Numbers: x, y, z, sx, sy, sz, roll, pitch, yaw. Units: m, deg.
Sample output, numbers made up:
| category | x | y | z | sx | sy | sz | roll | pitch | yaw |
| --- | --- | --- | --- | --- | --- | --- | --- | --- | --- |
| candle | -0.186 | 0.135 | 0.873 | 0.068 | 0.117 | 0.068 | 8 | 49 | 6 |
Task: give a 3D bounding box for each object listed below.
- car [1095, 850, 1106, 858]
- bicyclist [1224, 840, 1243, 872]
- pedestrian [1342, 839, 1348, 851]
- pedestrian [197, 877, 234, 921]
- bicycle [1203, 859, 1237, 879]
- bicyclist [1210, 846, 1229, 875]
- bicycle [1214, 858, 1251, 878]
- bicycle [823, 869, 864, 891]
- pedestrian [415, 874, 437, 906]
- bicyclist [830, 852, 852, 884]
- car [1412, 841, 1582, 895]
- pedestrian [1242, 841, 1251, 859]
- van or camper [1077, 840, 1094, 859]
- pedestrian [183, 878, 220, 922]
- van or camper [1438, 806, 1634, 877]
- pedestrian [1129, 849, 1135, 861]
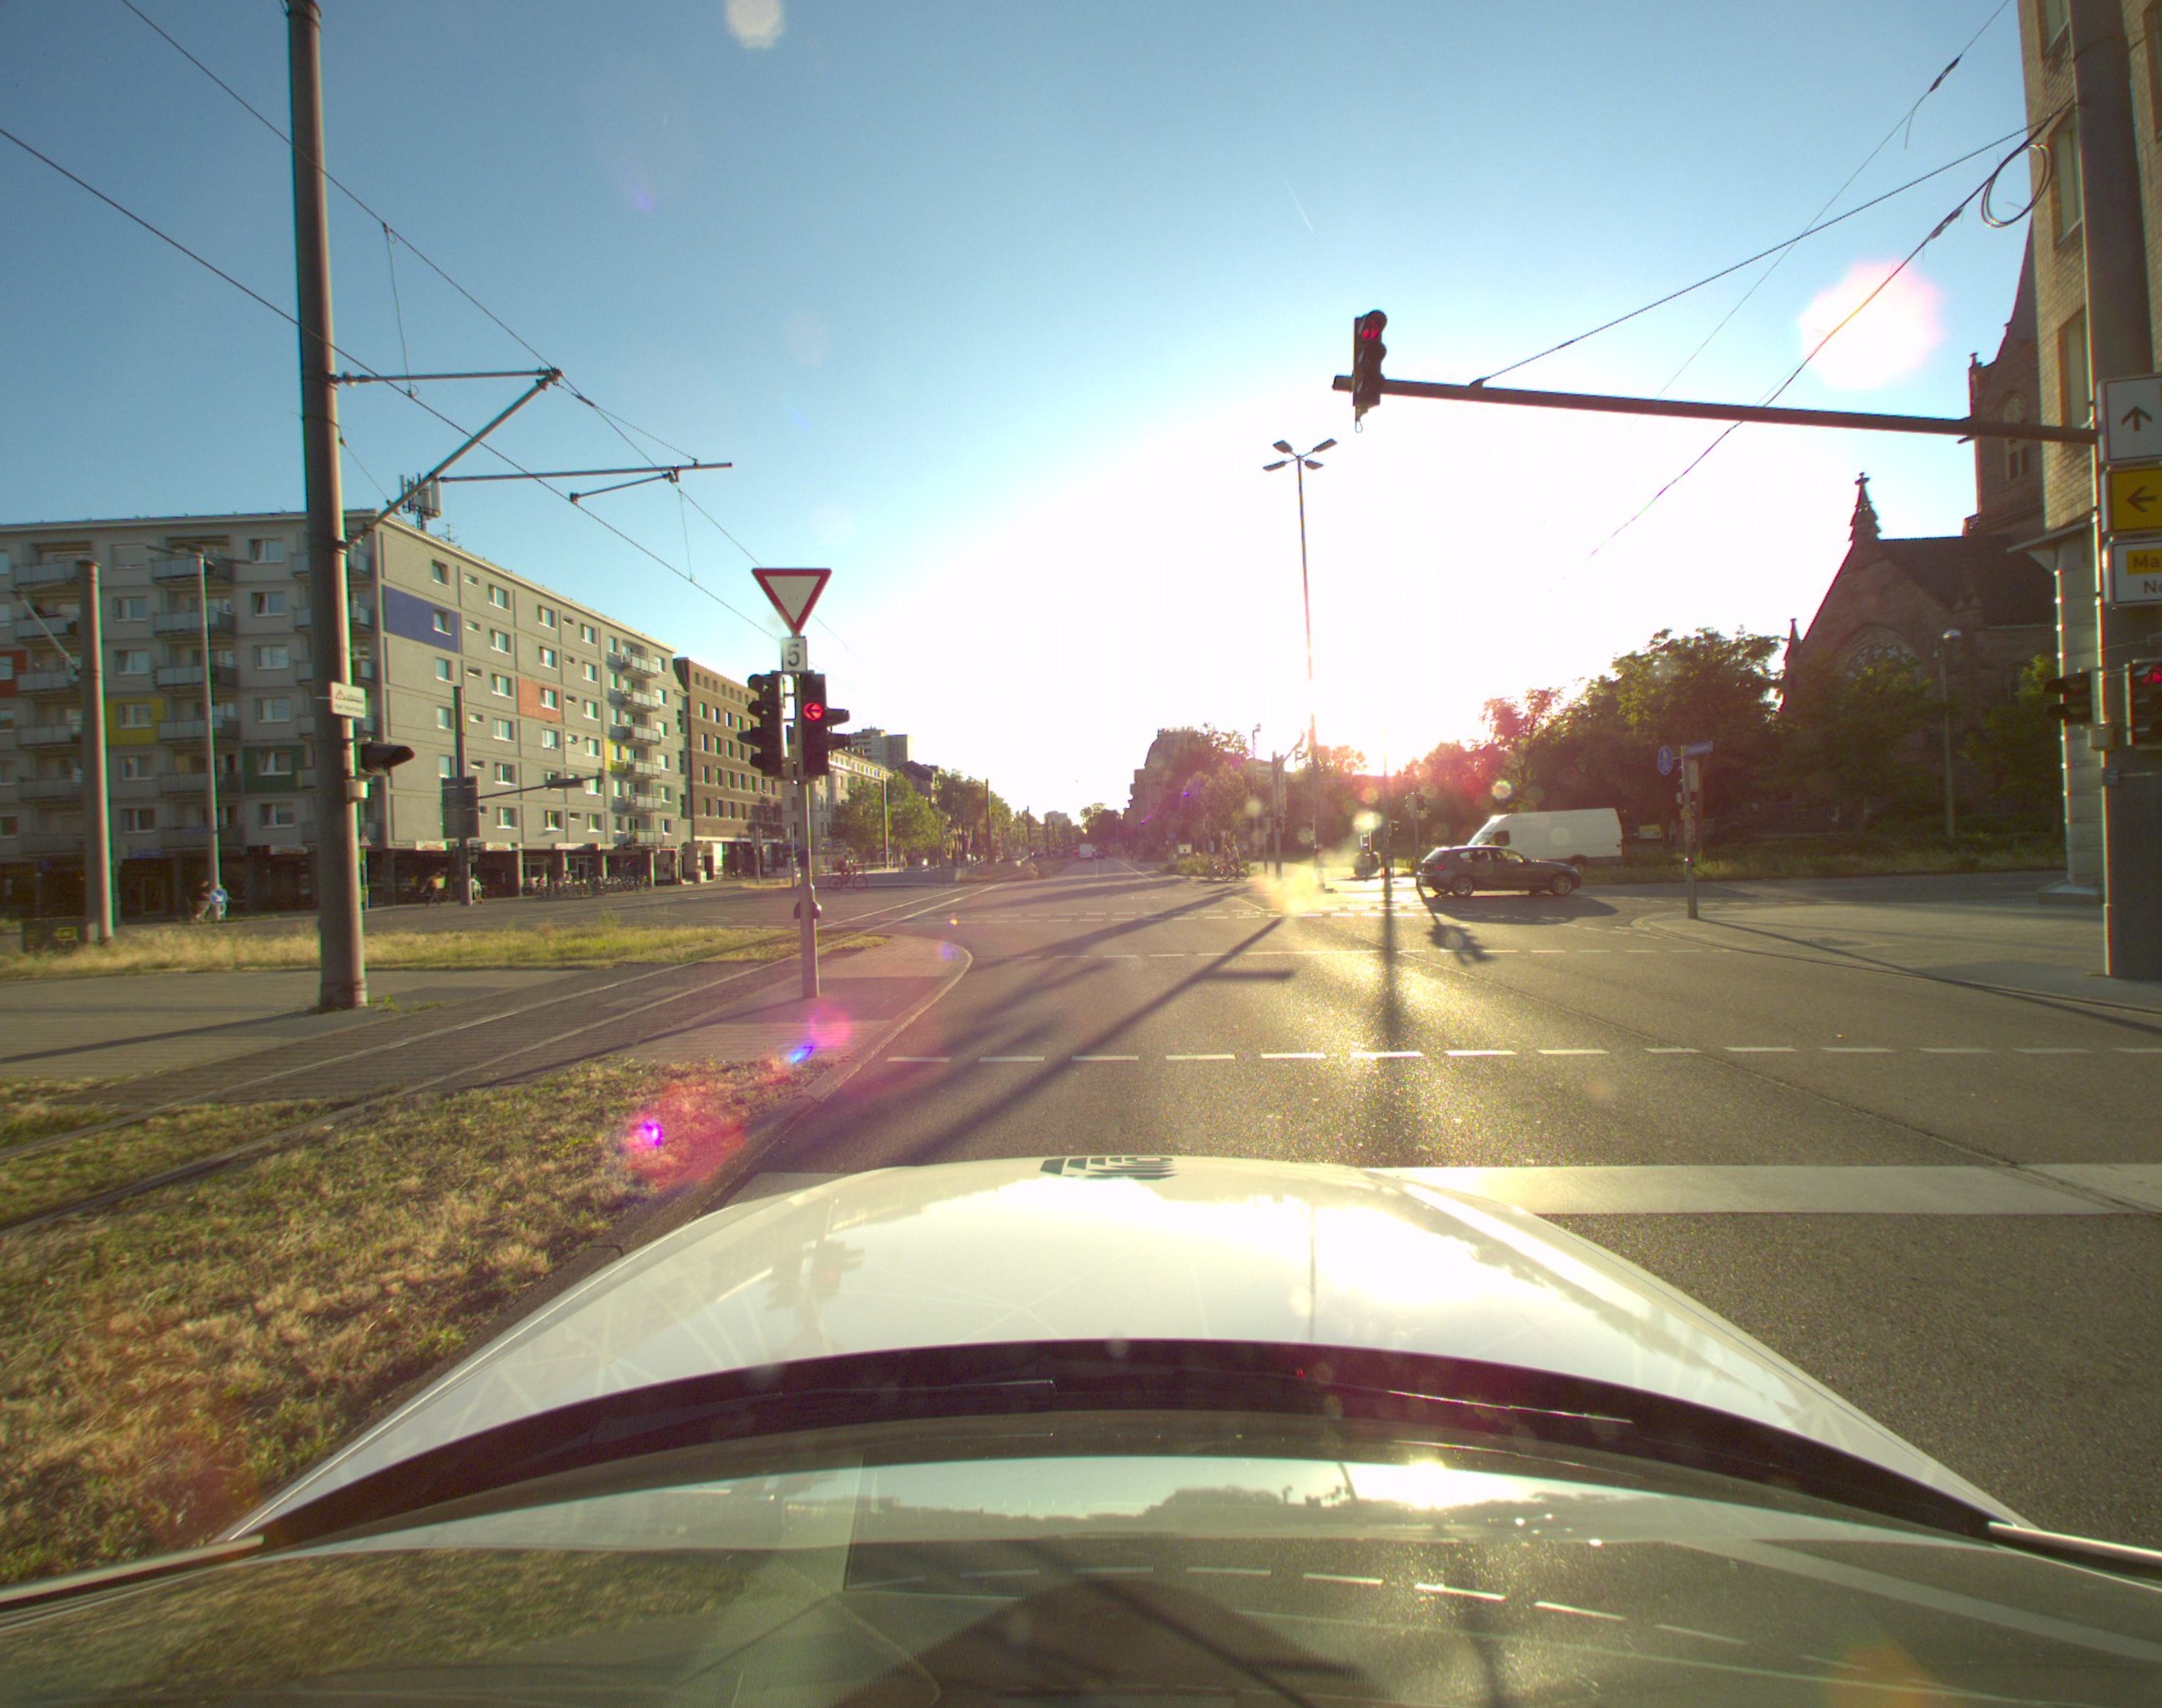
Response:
| category | x | y | z | sx | sy | sz | roll | pitch | yaw |
| --- | --- | --- | --- | --- | --- | --- | --- | --- | --- |
| car | 3.483 | -0.015 | 145.080 | 1.731 | 1.385 | 4.002 | -2 | 1 | 2 |
| bicyclist | 7.639 | 0.088 | 40.901 | 0.794 | 1.571 | 0.663 | -2 | 1 | 1 |
| pedestrian | 37.479 | -1.307 | 115.686 | 0.791 | 1.701 | 0.803 | -2 | 0 | 16 |
| pedestrian | -38.046 | 1.954 | 35.799 | 0.600 | 1.847 | 0.822 | -2 | 1 | 1 |
| bicycle | 7.290 | 0.778 | 42.715 | 1.712 | 0.970 | 0.610 | -2 | 1 | 1 |
| bicyclist | 7.285 | 0.336 | 42.710 | 0.850 | 1.442 | 0.663 | -2 | 1 | 1 |
| bicycle | 7.593 | 0.705 | 40.912 | 1.722 | 0.970 | 0.609 | -2 | 1 | 0 |
| bicycle | -11.008 | 1.203 | 37.752 | 1.725 | 0.970 | 0.703 | 0 | 1 | -4 |
| pedestrian | -34.812 | 1.900 | 43.306 | 0.787 | 1.669 | 0.732 | -4 | 2 | -43 |
| bicyclist | -11.105 | 0.636 | 37.744 | 0.852 | 1.442 | 0.662 | 0 | 1 | -5 |
| car | 11.743 | 0.379 | 23.203 | 3.966 | 1.434 | 1.722 | -1 | 2 | 6 |
| pedestrian | 15.431 | -0.367 | 76.116 | 0.679 | 1.611 | 0.613 | -2 | 1 | 1 |
| van or camper | 0.733 | -0.656 | 118.655 | 2.254 | 2.624 | 4.505 | -2 | 1 | 2 |
| pedestrian | -38.870 | 2.015 | 35.998 | 0.702 | 1.851 | 0.737 | -2 | 1 | 1 |
| van or camper | 19.614 | -0.558 | 35.421 | 7.013 | 2.674 | 2.601 | -2 | 1 | 3 |
| pedestrian | 6.382 | 0.107 | 101.756 | 0.613 | 1.475 | 0.801 | -2 | 1 | 5 |
